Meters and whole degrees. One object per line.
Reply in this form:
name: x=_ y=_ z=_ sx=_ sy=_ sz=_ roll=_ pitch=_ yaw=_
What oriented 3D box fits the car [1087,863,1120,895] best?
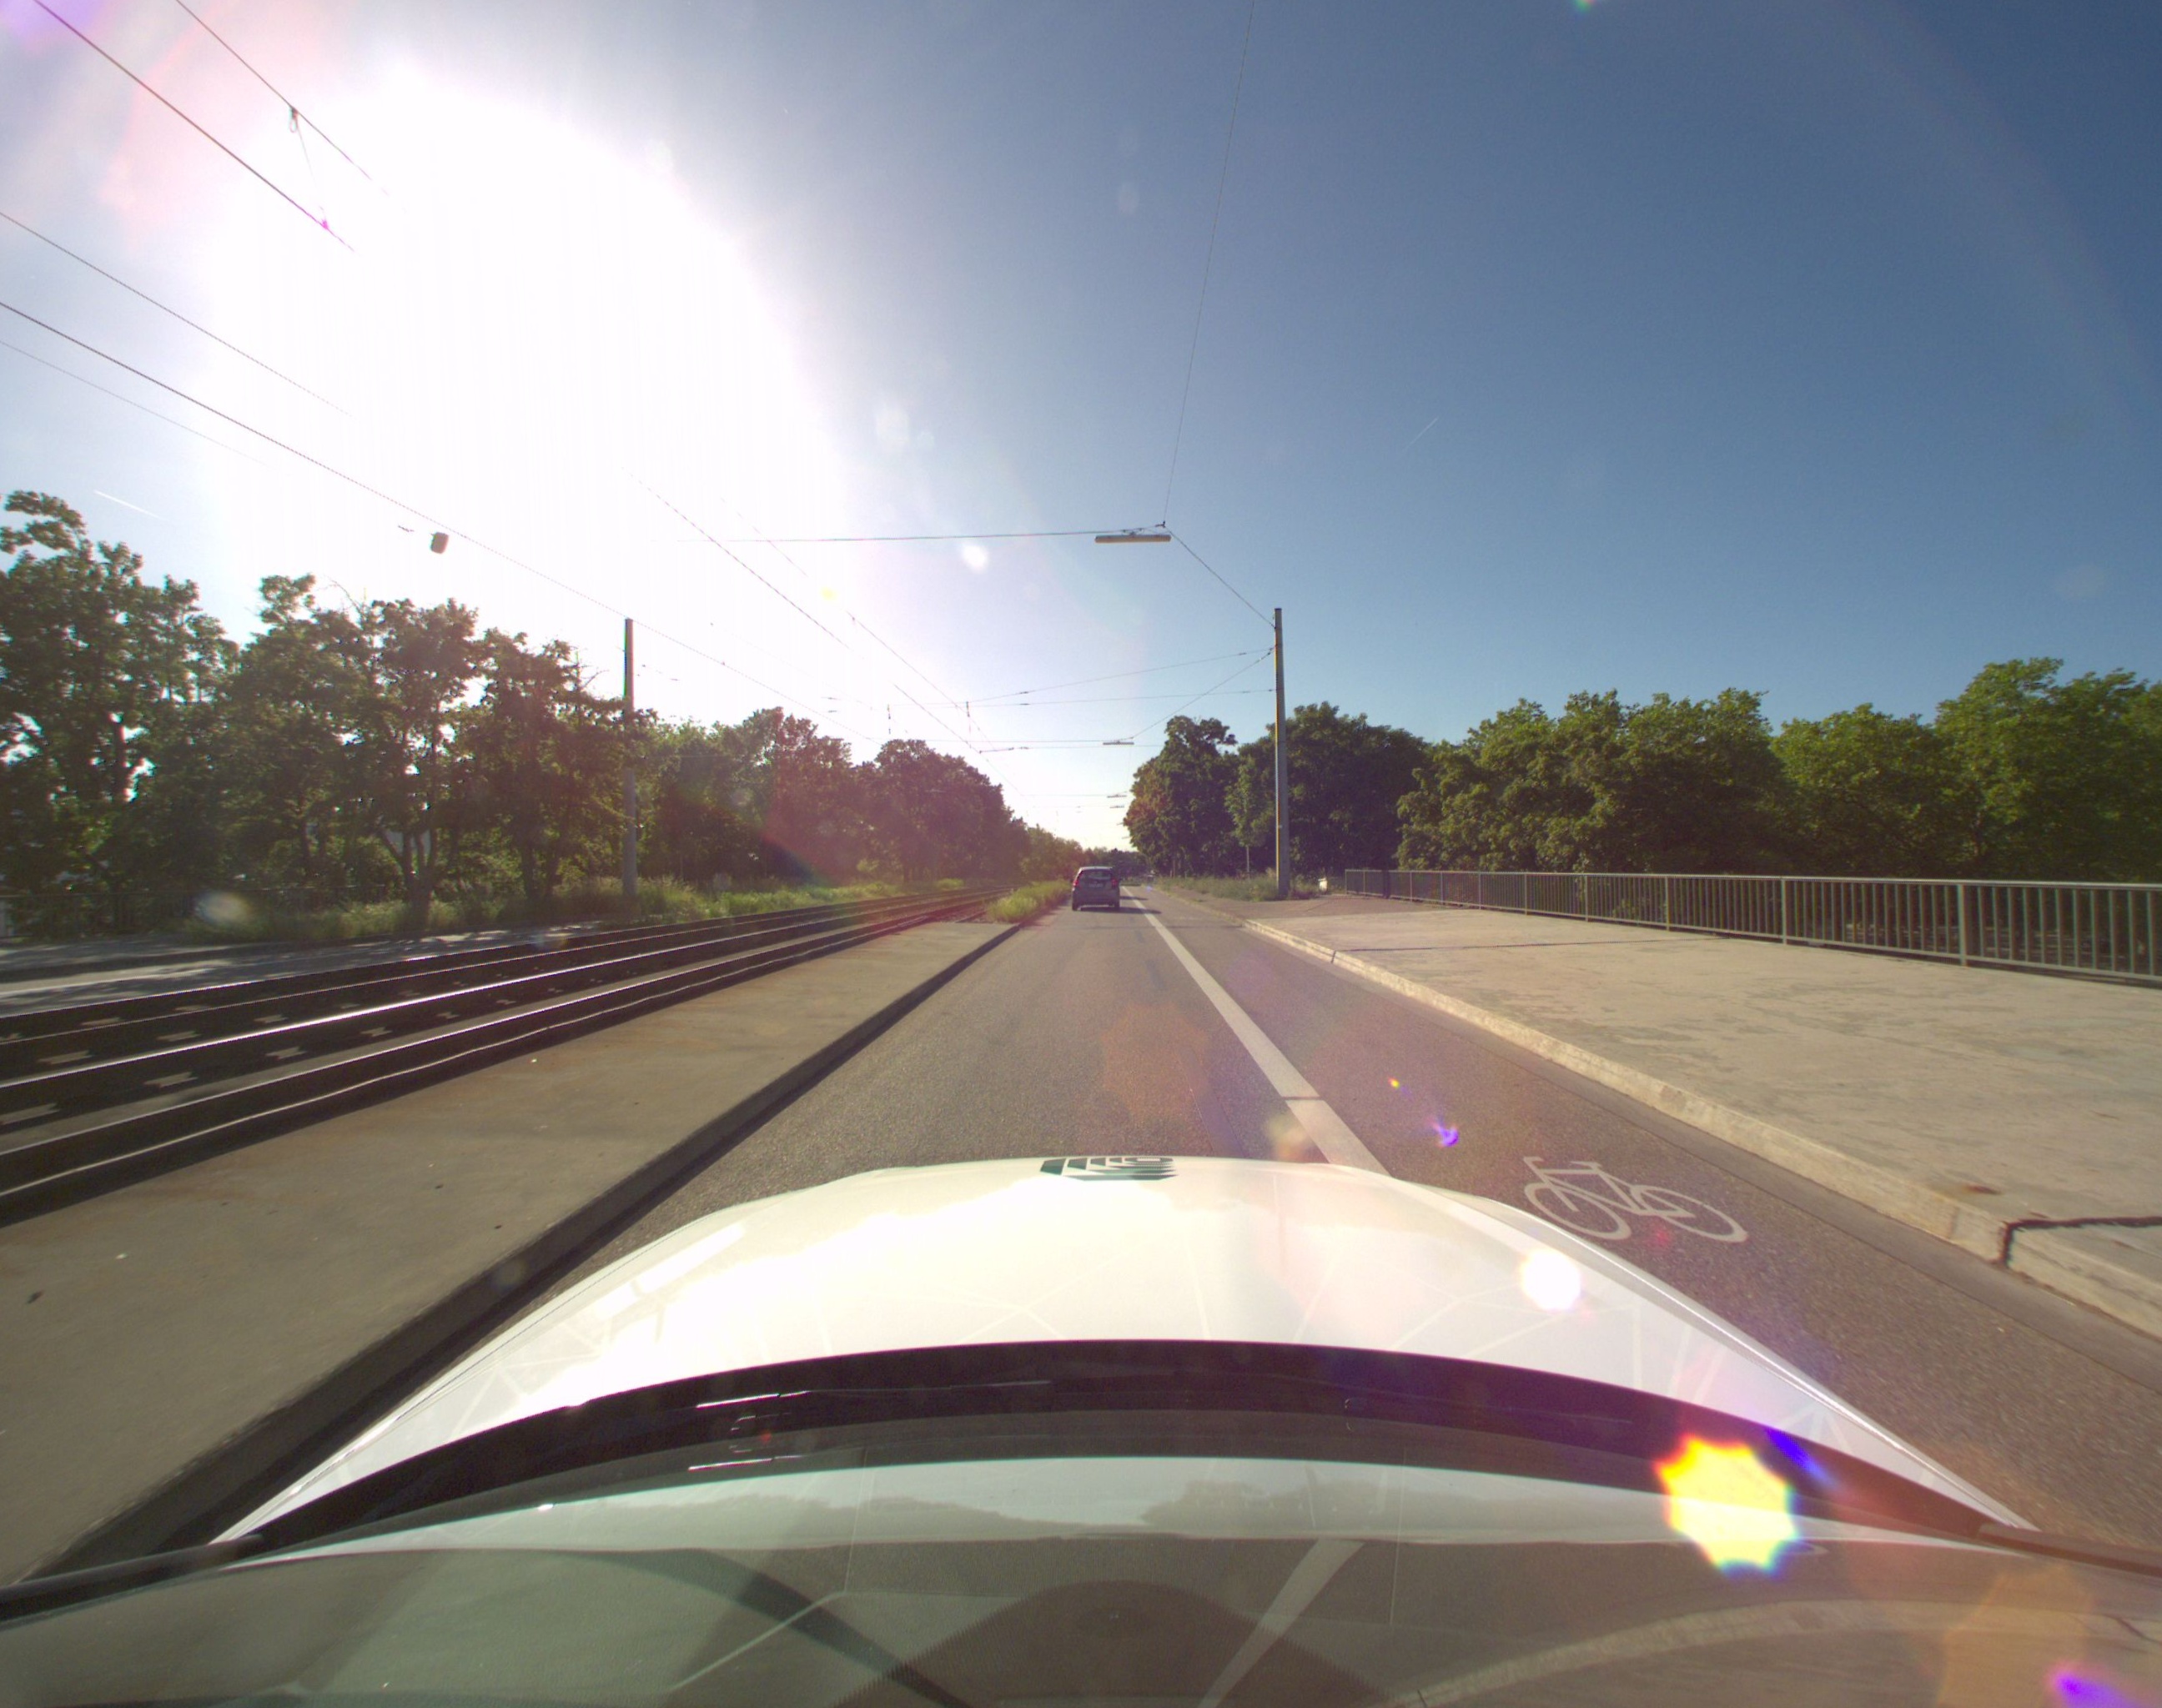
car: x=1.247 y=1.307 z=43.069 sx=1.648 sy=1.507 sz=3.814 roll=1 pitch=1 yaw=3

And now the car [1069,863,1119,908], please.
car: x=0.533 y=1.094 z=29.376 sx=1.663 sy=1.508 sz=3.813 roll=1 pitch=-1 yaw=3
